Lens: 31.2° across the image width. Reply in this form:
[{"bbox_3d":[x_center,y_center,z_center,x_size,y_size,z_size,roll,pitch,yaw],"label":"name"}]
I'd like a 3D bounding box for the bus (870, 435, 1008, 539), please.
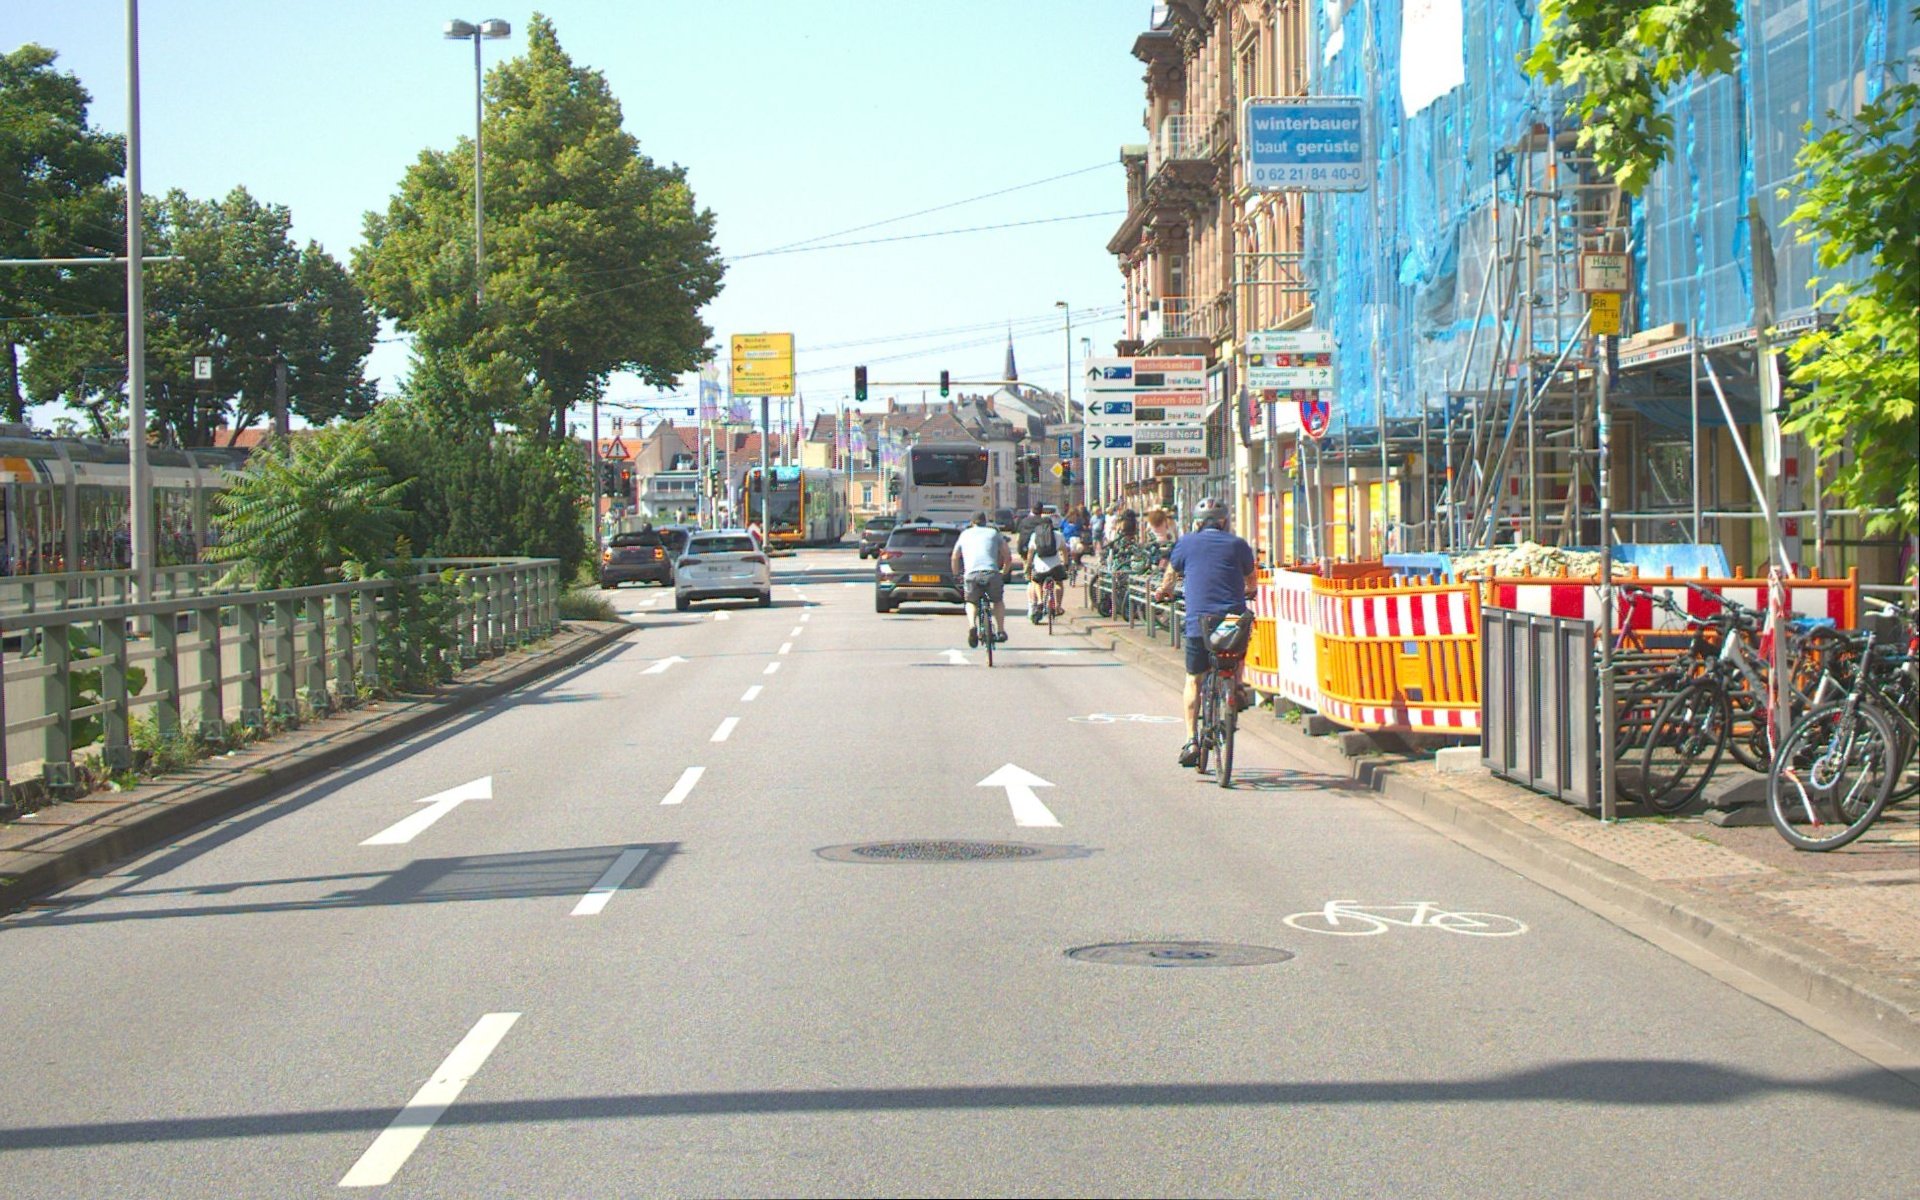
[{"bbox_3d":[-0.698,-3.204,99.385,2.968,2.767,8.643,2,1,-7],"label":"bus"}]

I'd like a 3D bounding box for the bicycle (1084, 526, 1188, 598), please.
[{"bbox_3d":[2.957,-0.649,57.930,1.693,1.174,0.609,-1,2,0],"label":"bicycle"}]

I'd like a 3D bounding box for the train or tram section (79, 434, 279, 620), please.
[{"bbox_3d":[-15.990,-1.482,70.857,2.613,3.569,6.899,2,1,-1],"label":"train or tram section"}]

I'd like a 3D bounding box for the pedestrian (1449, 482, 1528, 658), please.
[{"bbox_3d":[5.391,-0.309,35.108,0.639,1.770,0.649,2,1,-1],"label":"pedestrian"}]

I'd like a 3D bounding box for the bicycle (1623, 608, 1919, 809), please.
[{"bbox_3d":[4.349,0.554,17.731,1.752,1.014,0.483,0,1,-3],"label":"bicycle"}]

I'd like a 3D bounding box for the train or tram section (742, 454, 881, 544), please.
[{"bbox_3d":[-6.298,-4.295,147.786,2.825,3.569,10.024,2,1,16],"label":"train or tram section"}]

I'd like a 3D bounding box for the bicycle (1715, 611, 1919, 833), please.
[{"bbox_3d":[4.496,0.564,16.274,1.752,1.014,0.483,0,1,-11],"label":"bicycle"}]

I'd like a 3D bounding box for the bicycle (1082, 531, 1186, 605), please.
[{"bbox_3d":[2.960,-0.546,58.588,1.693,1.174,0.609,-2,2,0],"label":"bicycle"}]

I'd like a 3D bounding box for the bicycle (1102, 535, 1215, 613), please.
[{"bbox_3d":[3.058,-0.398,52.935,1.693,1.174,0.497,1,1,0],"label":"bicycle"}]

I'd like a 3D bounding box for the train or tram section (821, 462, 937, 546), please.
[{"bbox_3d":[-3.632,-4.344,156.649,2.825,3.569,8.219,2,1,16],"label":"train or tram section"}]

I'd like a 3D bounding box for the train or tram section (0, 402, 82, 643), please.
[{"bbox_3d":[-15.572,-1.211,52.903,2.613,3.569,6.104,2,1,-1],"label":"train or tram section"}]

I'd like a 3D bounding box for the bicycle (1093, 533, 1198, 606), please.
[{"bbox_3d":[3.089,-0.511,57.338,1.693,1.174,0.470,1,1,-1],"label":"bicycle"}]

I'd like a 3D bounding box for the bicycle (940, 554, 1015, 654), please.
[{"bbox_3d":[0.191,0.036,39.268,0.734,1.089,1.898,2,1,-2],"label":"bicycle"}]

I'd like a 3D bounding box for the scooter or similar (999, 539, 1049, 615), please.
[{"bbox_3d":[0.997,-0.370,53.988,0.688,1.163,1.464,2,1,-1],"label":"scooter or similar"}]

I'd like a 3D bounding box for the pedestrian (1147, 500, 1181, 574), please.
[{"bbox_3d":[4.516,-1.390,76.135,0.654,1.615,0.815,-1,2,-2],"label":"pedestrian"}]

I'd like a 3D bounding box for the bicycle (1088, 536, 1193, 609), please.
[{"bbox_3d":[2.986,-0.456,56.830,1.693,1.174,0.460,1,1,0],"label":"bicycle"}]

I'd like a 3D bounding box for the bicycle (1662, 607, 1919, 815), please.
[{"bbox_3d":[4.429,0.547,17.145,1.752,1.014,0.483,0,1,-3],"label":"bicycle"}]

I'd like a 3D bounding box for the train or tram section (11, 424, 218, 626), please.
[{"bbox_3d":[-15.840,-1.390,64.745,2.613,3.569,5.357,2,1,-1],"label":"train or tram section"}]

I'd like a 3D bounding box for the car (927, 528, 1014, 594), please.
[{"bbox_3d":[0.241,-0.939,82.069,1.993,1.487,4.000,2,1,0],"label":"car"}]

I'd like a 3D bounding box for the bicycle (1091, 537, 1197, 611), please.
[{"bbox_3d":[3.011,-0.422,56.292,1.693,1.174,0.459,1,1,0],"label":"bicycle"}]

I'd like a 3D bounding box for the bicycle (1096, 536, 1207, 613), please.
[{"bbox_3d":[3.011,-0.399,54.073,1.693,1.174,0.451,1,1,0],"label":"bicycle"}]

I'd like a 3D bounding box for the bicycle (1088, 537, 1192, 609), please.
[{"bbox_3d":[2.998,-0.458,57.366,1.693,1.174,0.470,1,1,-1],"label":"bicycle"}]

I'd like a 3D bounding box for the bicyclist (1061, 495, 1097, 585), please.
[{"bbox_3d":[2.601,-1.312,75.254,0.688,1.955,0.778,2,1,-1],"label":"bicyclist"}]

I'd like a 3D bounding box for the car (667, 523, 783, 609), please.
[{"bbox_3d":[-4.343,-0.645,64.086,1.858,1.502,4.000,2,1,0],"label":"car"}]

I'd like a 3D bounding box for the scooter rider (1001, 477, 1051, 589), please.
[{"bbox_3d":[1.033,-1.053,54.017,0.688,1.723,0.778,2,1,-1],"label":"scooter rider"}]

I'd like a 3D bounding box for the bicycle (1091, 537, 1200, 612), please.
[{"bbox_3d":[2.975,-0.407,55.144,1.693,1.174,0.457,1,1,0],"label":"bicycle"}]

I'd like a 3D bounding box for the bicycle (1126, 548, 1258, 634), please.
[{"bbox_3d":[3.231,-0.130,47.904,1.771,1.174,0.608,1,1,0],"label":"bicycle"}]

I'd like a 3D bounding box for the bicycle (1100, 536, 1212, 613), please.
[{"bbox_3d":[3.041,-0.398,53.503,1.693,1.174,0.491,1,1,0],"label":"bicycle"}]

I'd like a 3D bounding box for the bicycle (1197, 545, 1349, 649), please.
[{"bbox_3d":[3.643,-0.038,40.032,1.693,1.174,0.608,1,1,0],"label":"bicycle"}]

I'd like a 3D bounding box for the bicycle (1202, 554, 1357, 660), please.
[{"bbox_3d":[3.650,0.072,39.350,1.693,1.174,0.608,1,1,0],"label":"bicycle"}]

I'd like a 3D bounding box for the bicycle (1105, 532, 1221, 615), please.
[{"bbox_3d":[3.082,-0.405,52.272,1.693,1.236,0.608,1,1,0],"label":"bicycle"}]

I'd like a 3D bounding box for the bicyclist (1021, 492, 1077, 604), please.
[{"bbox_3d":[1.270,-0.749,49.298,0.688,1.571,1.049,2,1,-2],"label":"bicyclist"}]

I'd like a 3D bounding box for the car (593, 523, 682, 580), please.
[{"bbox_3d":[-8.013,-1.217,85.607,1.815,1.328,4.000,2,1,0],"label":"car"}]

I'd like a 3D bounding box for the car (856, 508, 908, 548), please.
[{"bbox_3d":[-2.685,-2.481,119.058,1.452,1.296,3.341,2,1,4],"label":"car"}]

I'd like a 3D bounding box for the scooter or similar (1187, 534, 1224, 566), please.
[{"bbox_3d":[5.203,-1.057,72.940,0.691,0.648,0.565,-4,1,-2],"label":"scooter or similar"}]

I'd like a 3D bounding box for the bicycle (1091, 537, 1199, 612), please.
[{"bbox_3d":[2.997,-0.414,55.709,1.693,1.174,0.514,1,1,0],"label":"bicycle"}]

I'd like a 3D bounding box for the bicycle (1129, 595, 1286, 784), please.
[{"bbox_3d":[1.531,0.536,21.576,0.734,1.089,1.911,2,1,-2],"label":"bicycle"}]

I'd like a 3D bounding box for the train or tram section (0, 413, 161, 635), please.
[{"bbox_3d":[-15.709,-1.303,59.005,2.613,3.569,6.104,2,1,-1],"label":"train or tram section"}]

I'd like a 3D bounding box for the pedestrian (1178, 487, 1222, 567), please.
[{"bbox_3d":[5.121,-1.563,73.512,0.755,1.650,0.837,-4,0,-2],"label":"pedestrian"}]

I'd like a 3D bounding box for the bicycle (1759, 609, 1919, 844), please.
[{"bbox_3d":[4.473,0.552,15.219,1.752,1.014,0.483,0,1,-3],"label":"bicycle"}]

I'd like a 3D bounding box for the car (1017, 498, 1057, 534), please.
[{"bbox_3d":[4.084,-4.443,182.399,1.994,1.871,4.000,-1,1,3],"label":"car"}]

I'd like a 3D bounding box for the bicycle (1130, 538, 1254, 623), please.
[{"bbox_3d":[3.272,-0.282,48.658,1.693,1.174,0.608,1,1,0],"label":"bicycle"}]

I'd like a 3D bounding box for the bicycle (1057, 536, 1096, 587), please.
[{"bbox_3d":[2.546,-0.852,75.372,0.734,1.089,1.898,2,1,-1],"label":"bicycle"}]

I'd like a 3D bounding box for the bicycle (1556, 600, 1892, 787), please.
[{"bbox_3d":[4.234,0.512,19.100,1.752,1.014,0.483,0,1,-3],"label":"bicycle"}]

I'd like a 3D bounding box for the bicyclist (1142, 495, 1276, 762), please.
[{"bbox_3d":[1.547,0.167,21.492,0.688,1.611,0.918,2,1,-2],"label":"bicyclist"}]

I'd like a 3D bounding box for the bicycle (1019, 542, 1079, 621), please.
[{"bbox_3d":[1.268,-0.267,49.254,0.734,1.089,1.898,2,1,-2],"label":"bicycle"}]

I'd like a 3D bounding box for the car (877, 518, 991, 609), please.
[{"bbox_3d":[-0.444,-0.642,60.026,1.873,1.487,4.000,2,1,0],"label":"car"}]

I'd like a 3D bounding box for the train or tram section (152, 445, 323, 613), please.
[{"bbox_3d":[-16.159,-1.579,77.291,2.613,3.569,6.018,2,1,-1],"label":"train or tram section"}]

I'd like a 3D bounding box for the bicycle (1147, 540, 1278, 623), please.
[{"bbox_3d":[3.402,-0.251,46.407,1.693,1.083,0.608,1,1,0],"label":"bicycle"}]

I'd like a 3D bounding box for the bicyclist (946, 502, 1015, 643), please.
[{"bbox_3d":[0.228,-0.314,39.252,0.688,1.571,1.049,2,1,-2],"label":"bicyclist"}]
